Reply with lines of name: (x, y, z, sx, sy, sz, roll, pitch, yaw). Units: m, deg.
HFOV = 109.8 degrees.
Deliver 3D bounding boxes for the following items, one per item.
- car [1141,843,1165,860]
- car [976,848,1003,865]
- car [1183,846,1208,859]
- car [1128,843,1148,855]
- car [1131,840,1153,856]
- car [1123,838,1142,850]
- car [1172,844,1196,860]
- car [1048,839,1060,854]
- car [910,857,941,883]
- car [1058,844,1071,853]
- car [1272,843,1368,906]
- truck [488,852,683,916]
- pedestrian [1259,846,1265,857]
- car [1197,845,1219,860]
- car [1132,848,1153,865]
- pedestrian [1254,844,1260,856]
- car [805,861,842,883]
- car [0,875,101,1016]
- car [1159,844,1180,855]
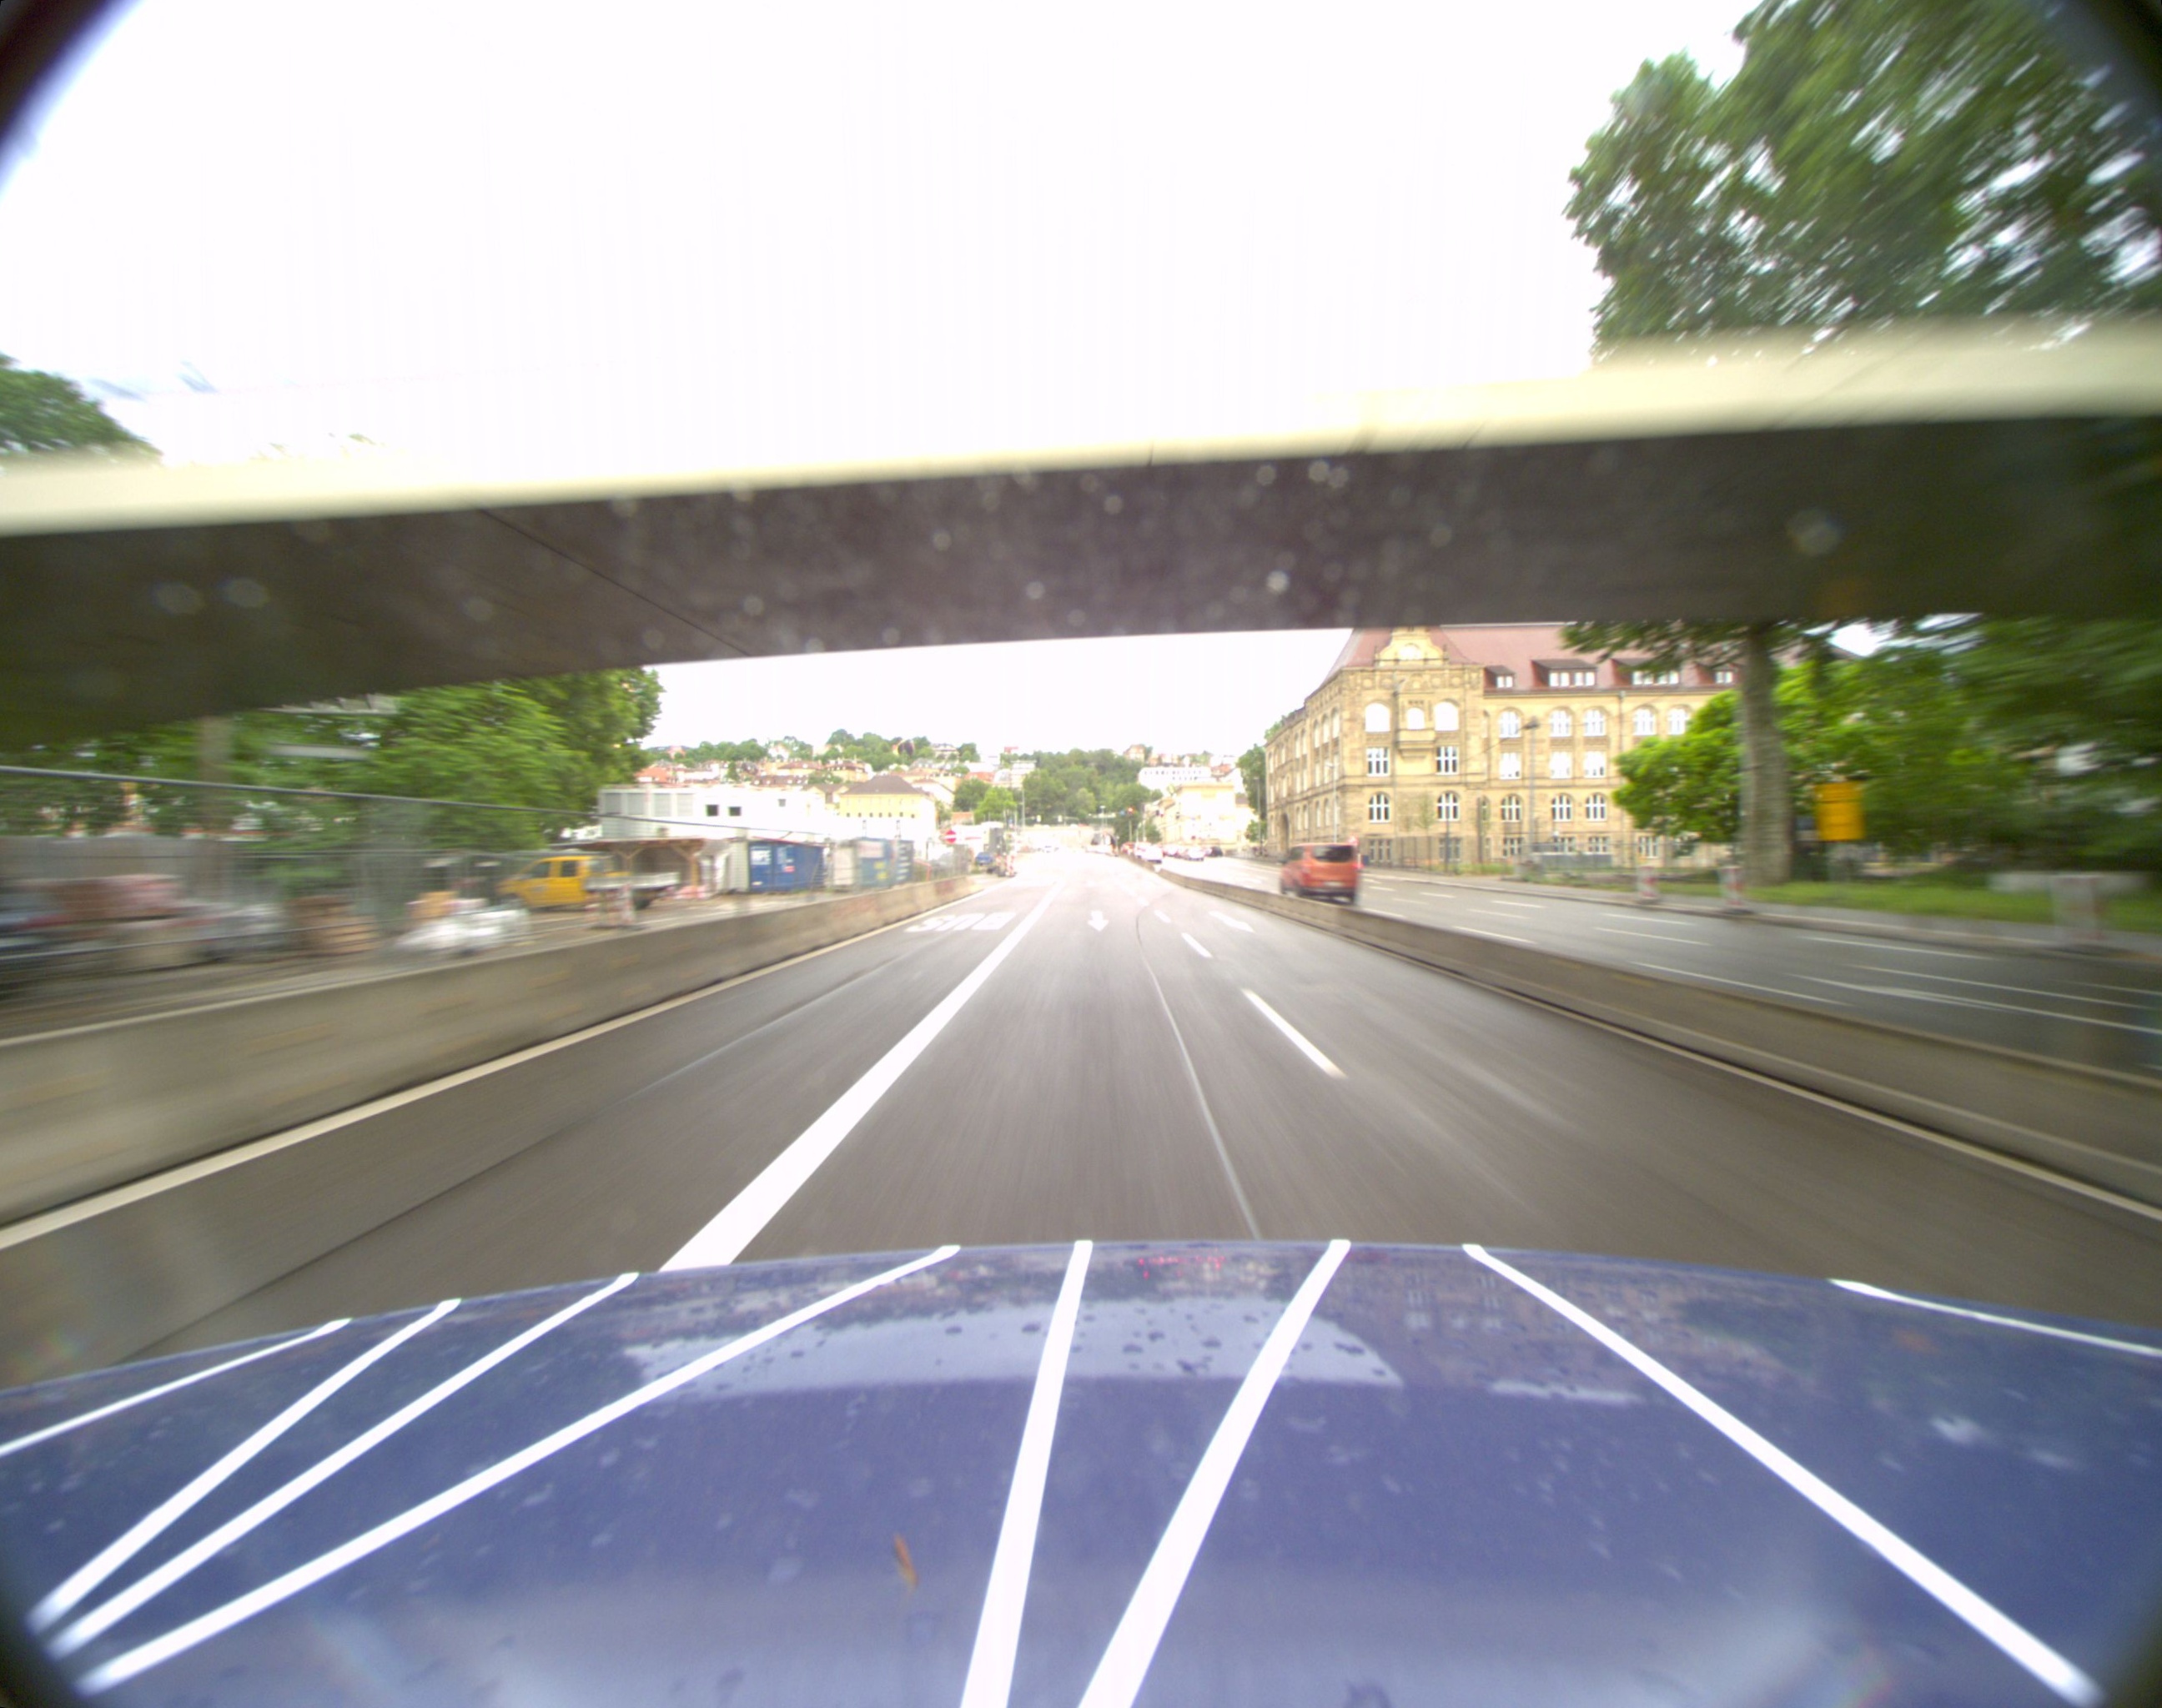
car: (7.481, -0.303, 79.404, 1.899, 1.558, 4.896, 1, 2, -2)
car: (-8.830, 0.222, 73.579, 1.837, 1.433, 4.413, -2, 1, 3)
car: (13.559, -0.201, 90.174, 1.999, 1.374, 4.208, 1, 2, -5)
car: (7.516, -0.647, 100.370, 1.999, 1.493, 4.819, 1, 2, -2)
car: (7.420, -0.803, 93.066, 1.999, 1.856, 5.593, 1, 2, -2)
car: (7.155, -1.358, 106.185, 1.999, 1.558, 5.379, 1, 2, -3)
car: (13.234, -0.257, 98.136, 2.000, 2.002, 3.996, 1, 2, -8)
car: (-7.182, -2.076, 202.717, 2.836, 3.991, 8.723, 1, 2, 1)
car: (-11.043, 1.089, 54.225, 1.857, 1.477, 3.994, 1, 4, -7)
car: (-3.217, -1.134, 148.214, 2.000, 1.561, 3.996, 1, 2, -8)
car: (8.293, 0.630, 26.928, 2.035, 1.925, 5.044, 1, 2, 3)
truck: (-17.263, 0.996, 26.780, 5.169, 2.002, 2.407, -1, 2, -7)
pedestrian: (24.642, -0.335, 103.552, 0.618, 1.575, 0.734, 1, 2, -7)
car: (18.497, -0.188, 110.814, 2.000, 2.002, 3.996, 1, 2, -8)
car: (6.986, 0.257, 86.377, 1.914, 1.856, 4.377, 1, 2, -2)
pedestrian: (24.016, -0.591, 103.732, 0.618, 1.575, 0.734, 1, 2, 1)
car: (-18.963, 1.301, 56.114, 1.717, 1.299, 3.996, -2, 2, -7)
car: (-15.616, 1.189, 9.204, 4.512, 1.718, 1.999, -1, 1, -5)
car: (12.128, -0.600, 104.343, 1.999, 1.374, 4.209, 1, 2, -4)
